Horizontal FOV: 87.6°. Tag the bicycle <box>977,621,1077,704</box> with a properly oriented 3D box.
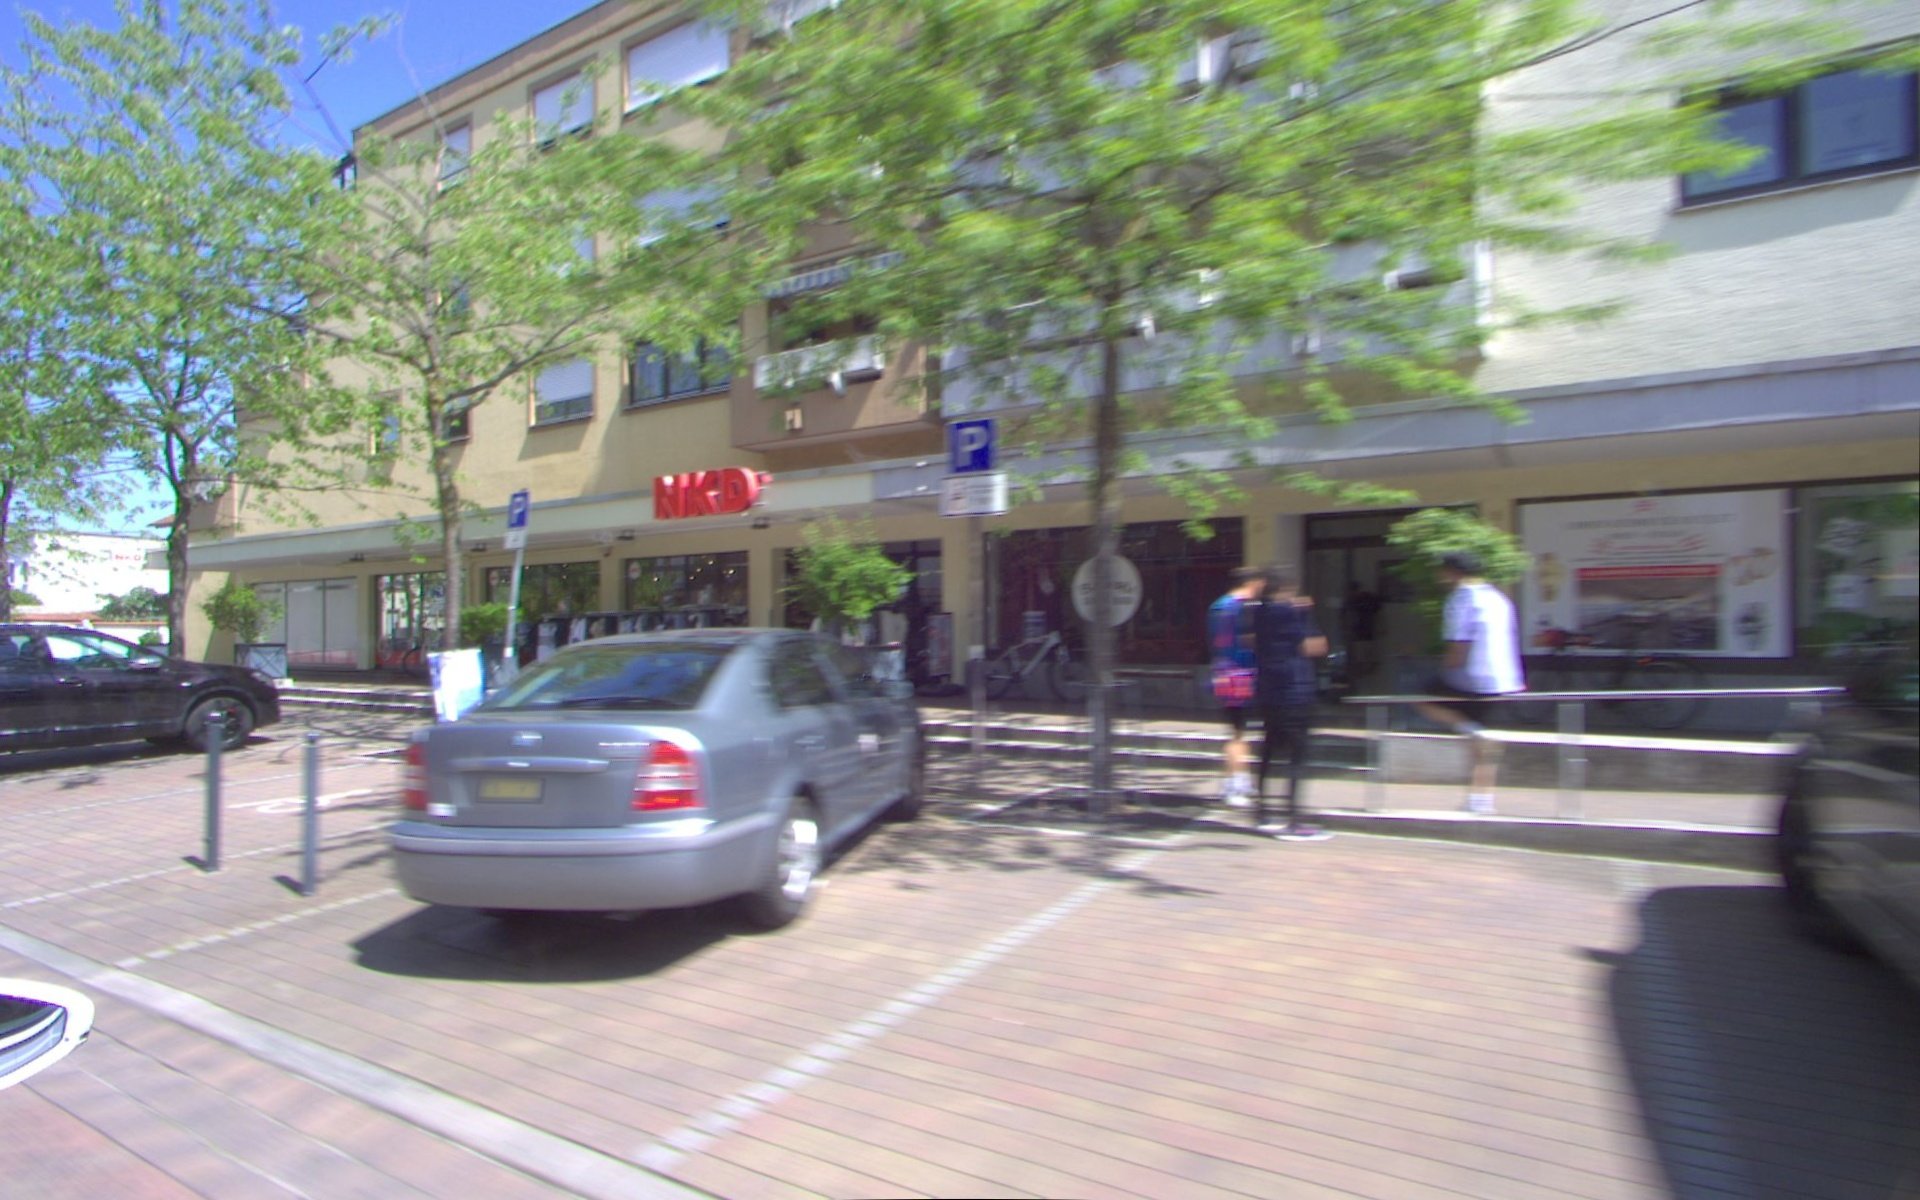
[{"bbox_3d":[0.900,0.845,13.500,1.291,1.080,0.360,-1,-3,20],"label":"bicycle"}]

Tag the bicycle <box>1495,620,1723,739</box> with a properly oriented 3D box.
[{"bbox_3d":[6.445,0.784,10.055,1.839,1.095,0.641,-2,-3,31],"label":"bicycle"}]

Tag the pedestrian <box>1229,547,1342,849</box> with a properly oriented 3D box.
[{"bbox_3d":[2.060,0.603,6.405,0.594,1.819,0.628,0,-2,10],"label":"pedestrian"}]

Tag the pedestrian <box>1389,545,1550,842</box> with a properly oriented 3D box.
[{"bbox_3d":[3.215,0.574,6.347,0.606,1.752,0.646,1,-3,-24],"label":"pedestrian"}]

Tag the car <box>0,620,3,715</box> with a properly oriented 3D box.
[{"bbox_3d":[-19.064,1.203,16.575,1.970,1.702,4.274,-1,-1,29],"label":"car"}]

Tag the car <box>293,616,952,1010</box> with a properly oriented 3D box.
[{"bbox_3d":[-1.420,0.880,6.115,1.855,1.482,4.385,-1,-2,12],"label":"car"}]

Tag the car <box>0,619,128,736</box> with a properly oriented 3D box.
[{"bbox_3d":[-14.601,1.102,13.805,1.825,1.609,4.497,-1,-1,34],"label":"car"}]

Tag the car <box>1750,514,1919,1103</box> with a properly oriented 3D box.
[{"bbox_3d":[3.518,0.569,2.538,1.730,1.639,4.238,-1,-1,30],"label":"car"}]

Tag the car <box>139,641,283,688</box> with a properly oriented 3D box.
[{"bbox_3d":[-25.372,2.138,34.028,1.631,1.470,3.609,0,-2,31],"label":"car"}]

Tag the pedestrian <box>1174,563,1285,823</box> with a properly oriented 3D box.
[{"bbox_3d":[1.983,0.657,7.345,0.676,1.795,0.630,-1,-2,26],"label":"pedestrian"}]

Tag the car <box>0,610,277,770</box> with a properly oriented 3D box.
[{"bbox_3d":[-10.399,0.974,11.376,1.657,1.633,4.019,-2,-1,31],"label":"car"}]

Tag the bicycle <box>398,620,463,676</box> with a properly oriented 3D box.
[{"bbox_3d":[-11.128,1.021,21.023,1.750,1.137,0.412,-2,-3,34],"label":"bicycle"}]
